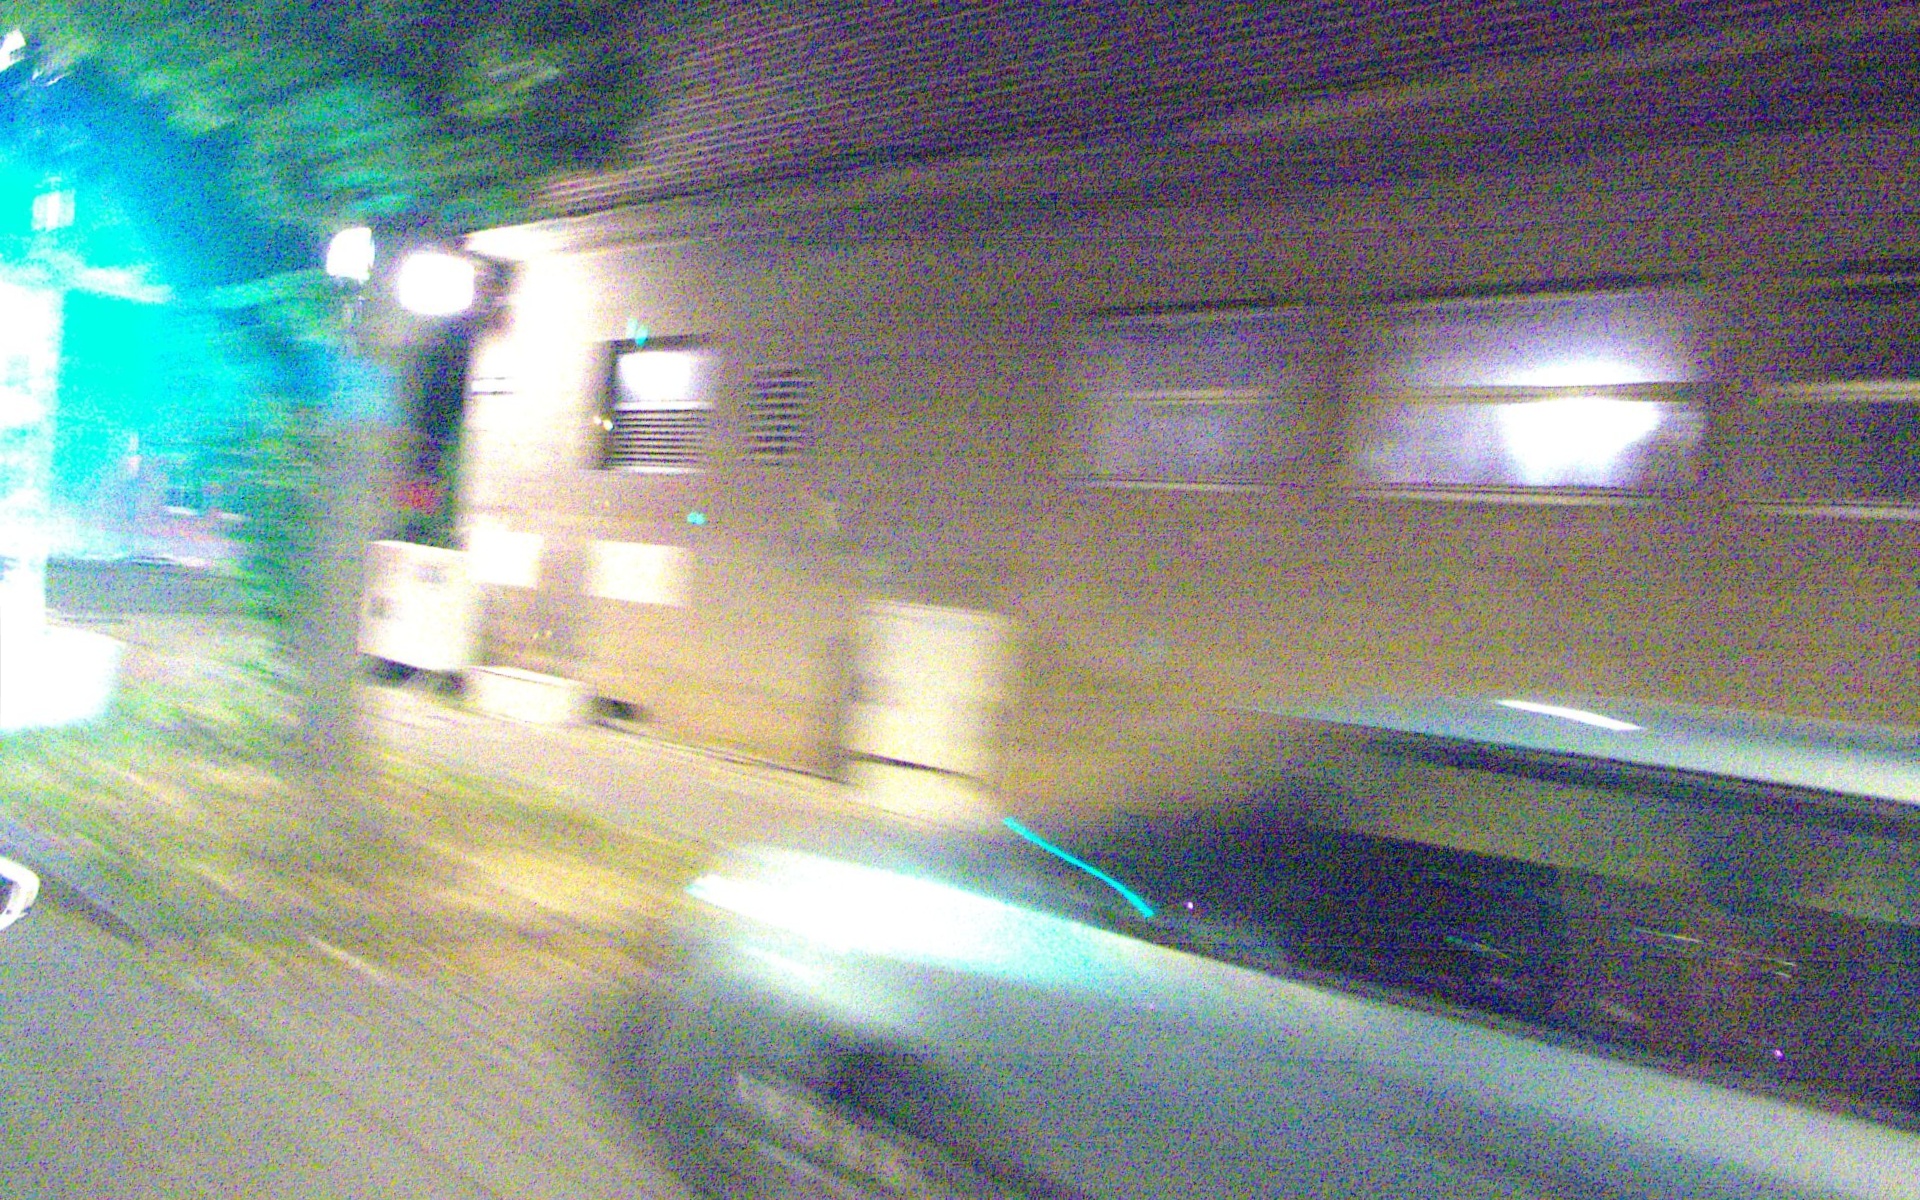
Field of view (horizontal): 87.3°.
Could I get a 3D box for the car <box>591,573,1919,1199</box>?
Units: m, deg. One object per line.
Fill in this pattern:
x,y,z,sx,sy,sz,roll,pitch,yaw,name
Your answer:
1.128,0.909,2.097,3.736,1.479,1.587,7,0,34,car
